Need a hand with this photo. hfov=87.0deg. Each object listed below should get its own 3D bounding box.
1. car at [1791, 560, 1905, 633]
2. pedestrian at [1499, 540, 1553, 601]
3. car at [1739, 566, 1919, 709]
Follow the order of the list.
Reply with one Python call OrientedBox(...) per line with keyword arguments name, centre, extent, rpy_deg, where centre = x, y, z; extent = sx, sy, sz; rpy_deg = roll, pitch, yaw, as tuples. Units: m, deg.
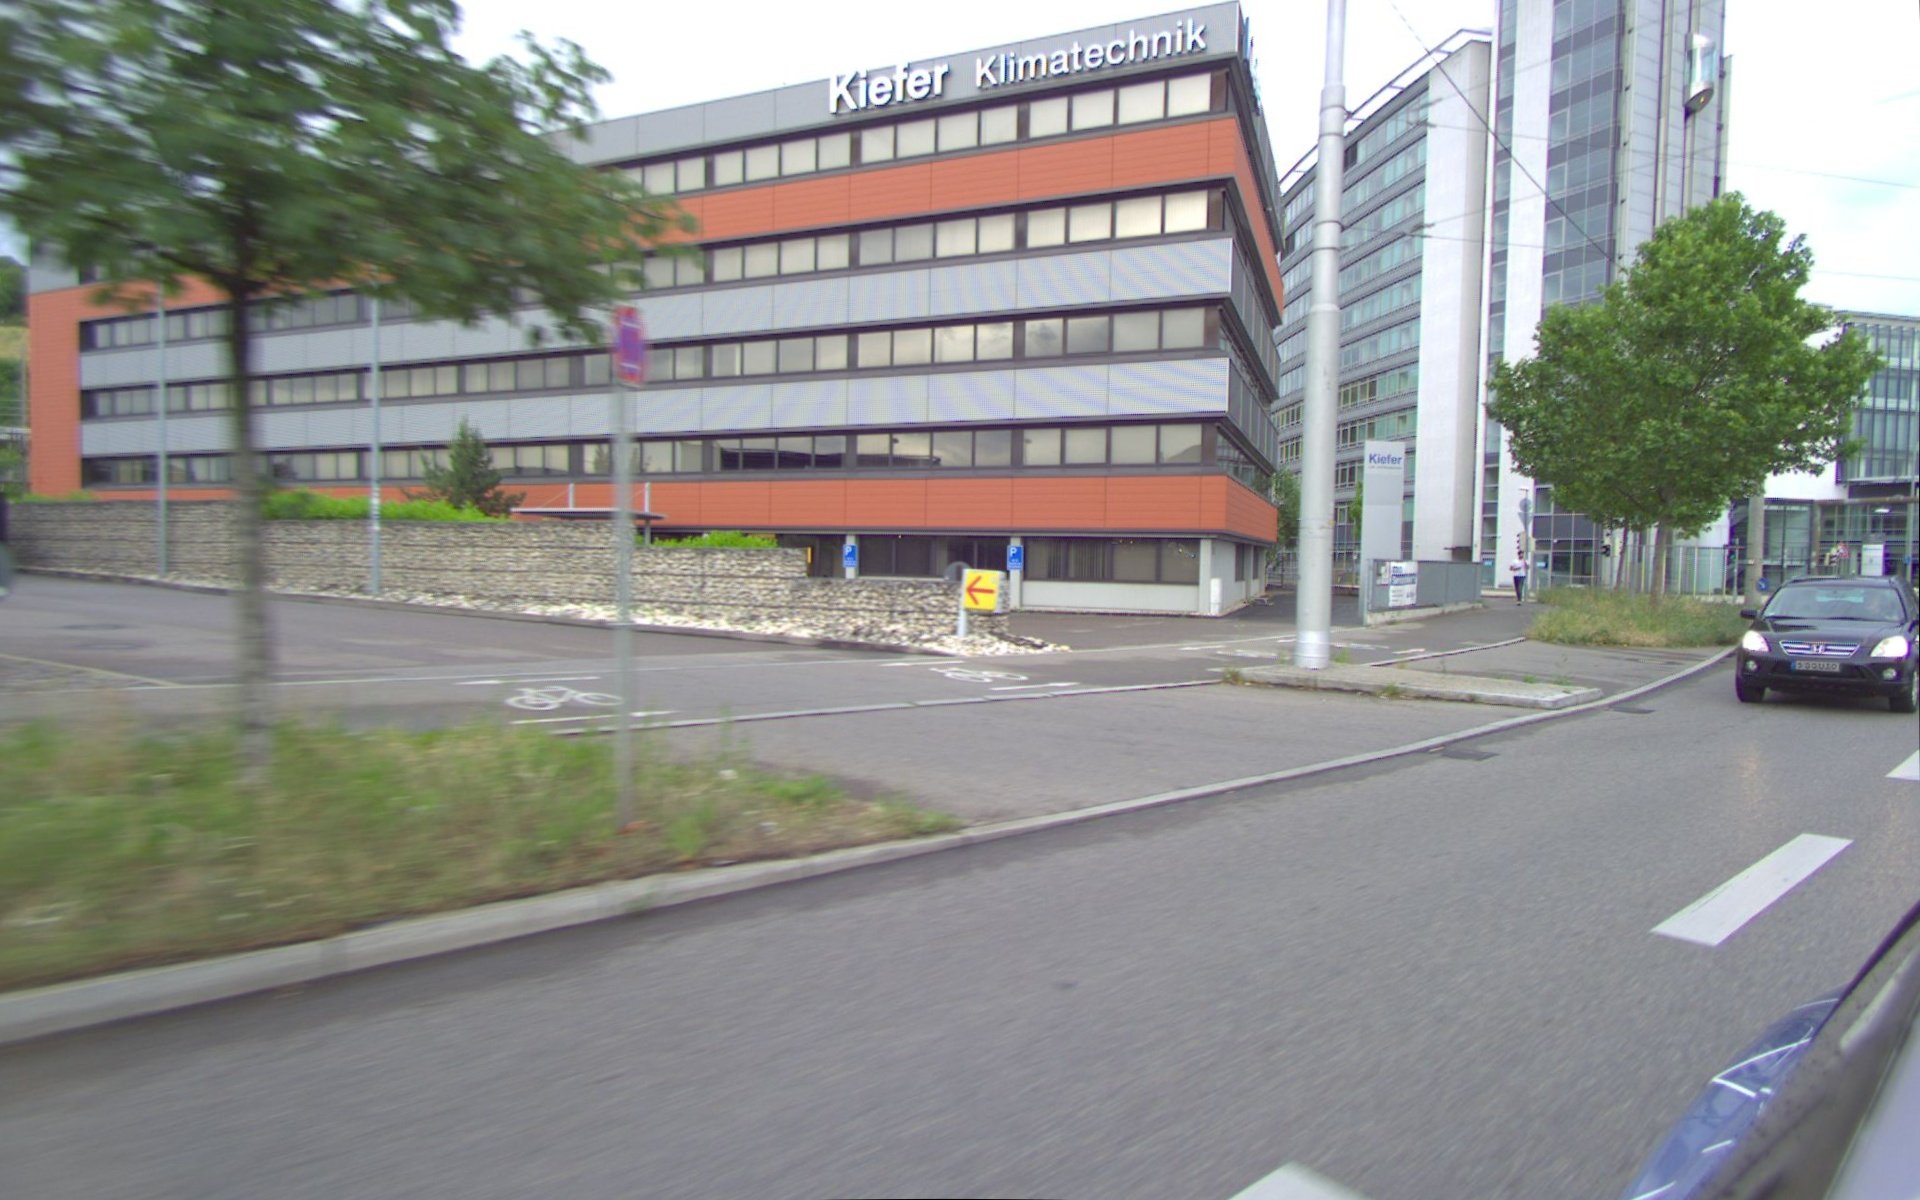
OrientedBox(name="car", centre=(23.119, -0.161, 26.316), extent=(1.995, 1.699, 3.762), rpy_deg=(4, 4, 44))
OrientedBox(name="pedestrian", centre=(20.466, -1.069, 36.589), extent=(1.197, 2.151, 1.150), rpy_deg=(-1, 3, -23))
OrientedBox(name="car", centre=(12.112, 0.397, 13.740), extent=(4.252, 1.650, 1.767), rpy_deg=(-1, 1, -43))
